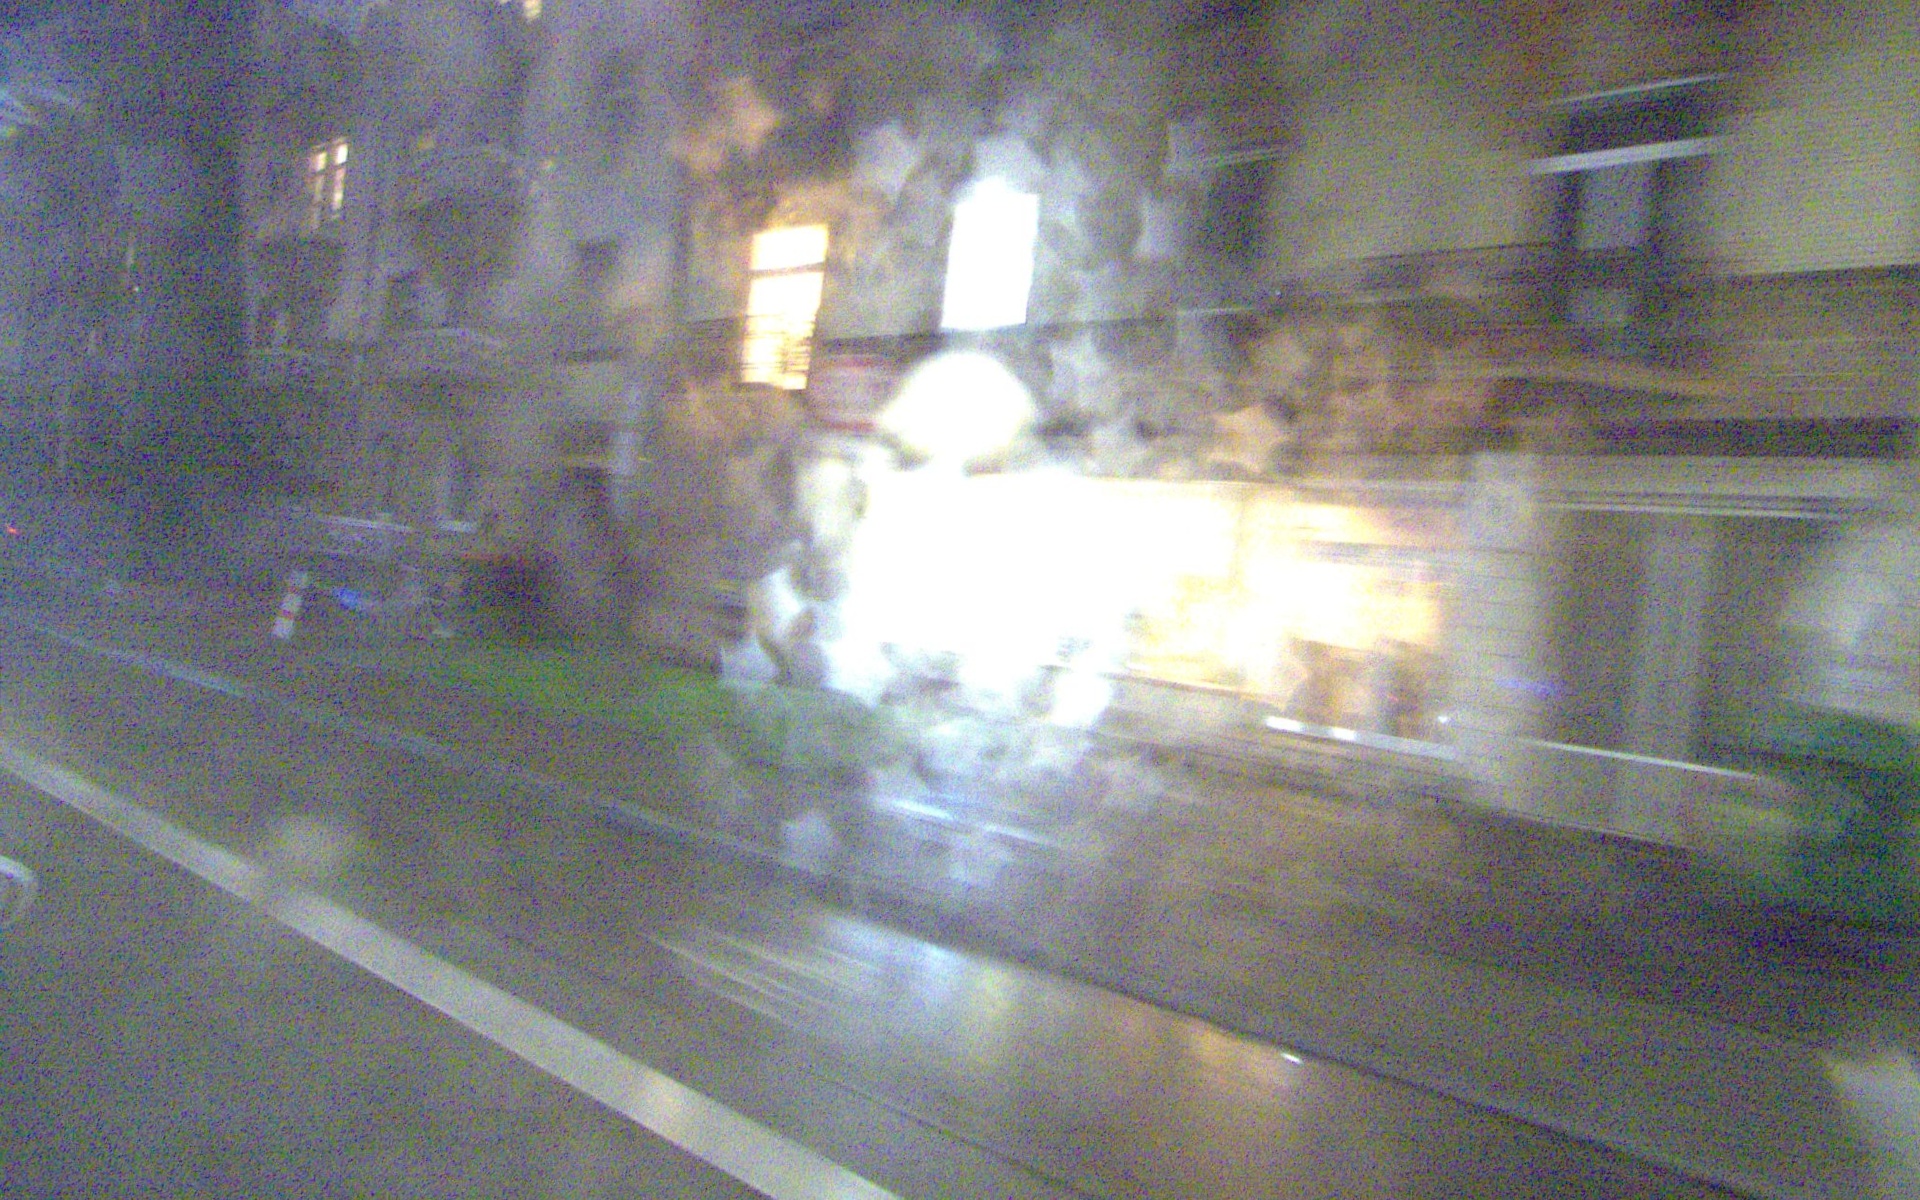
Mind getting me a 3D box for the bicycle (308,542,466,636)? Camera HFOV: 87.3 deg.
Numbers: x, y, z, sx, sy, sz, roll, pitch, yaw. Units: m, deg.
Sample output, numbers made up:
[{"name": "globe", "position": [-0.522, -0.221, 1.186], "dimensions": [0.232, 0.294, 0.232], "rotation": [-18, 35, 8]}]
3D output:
[{"name": "bicycle", "position": [-7.760, -0.121, 13.717], "dimensions": [0.485, 1.179, 1.813], "rotation": [6, 2, 32]}]
